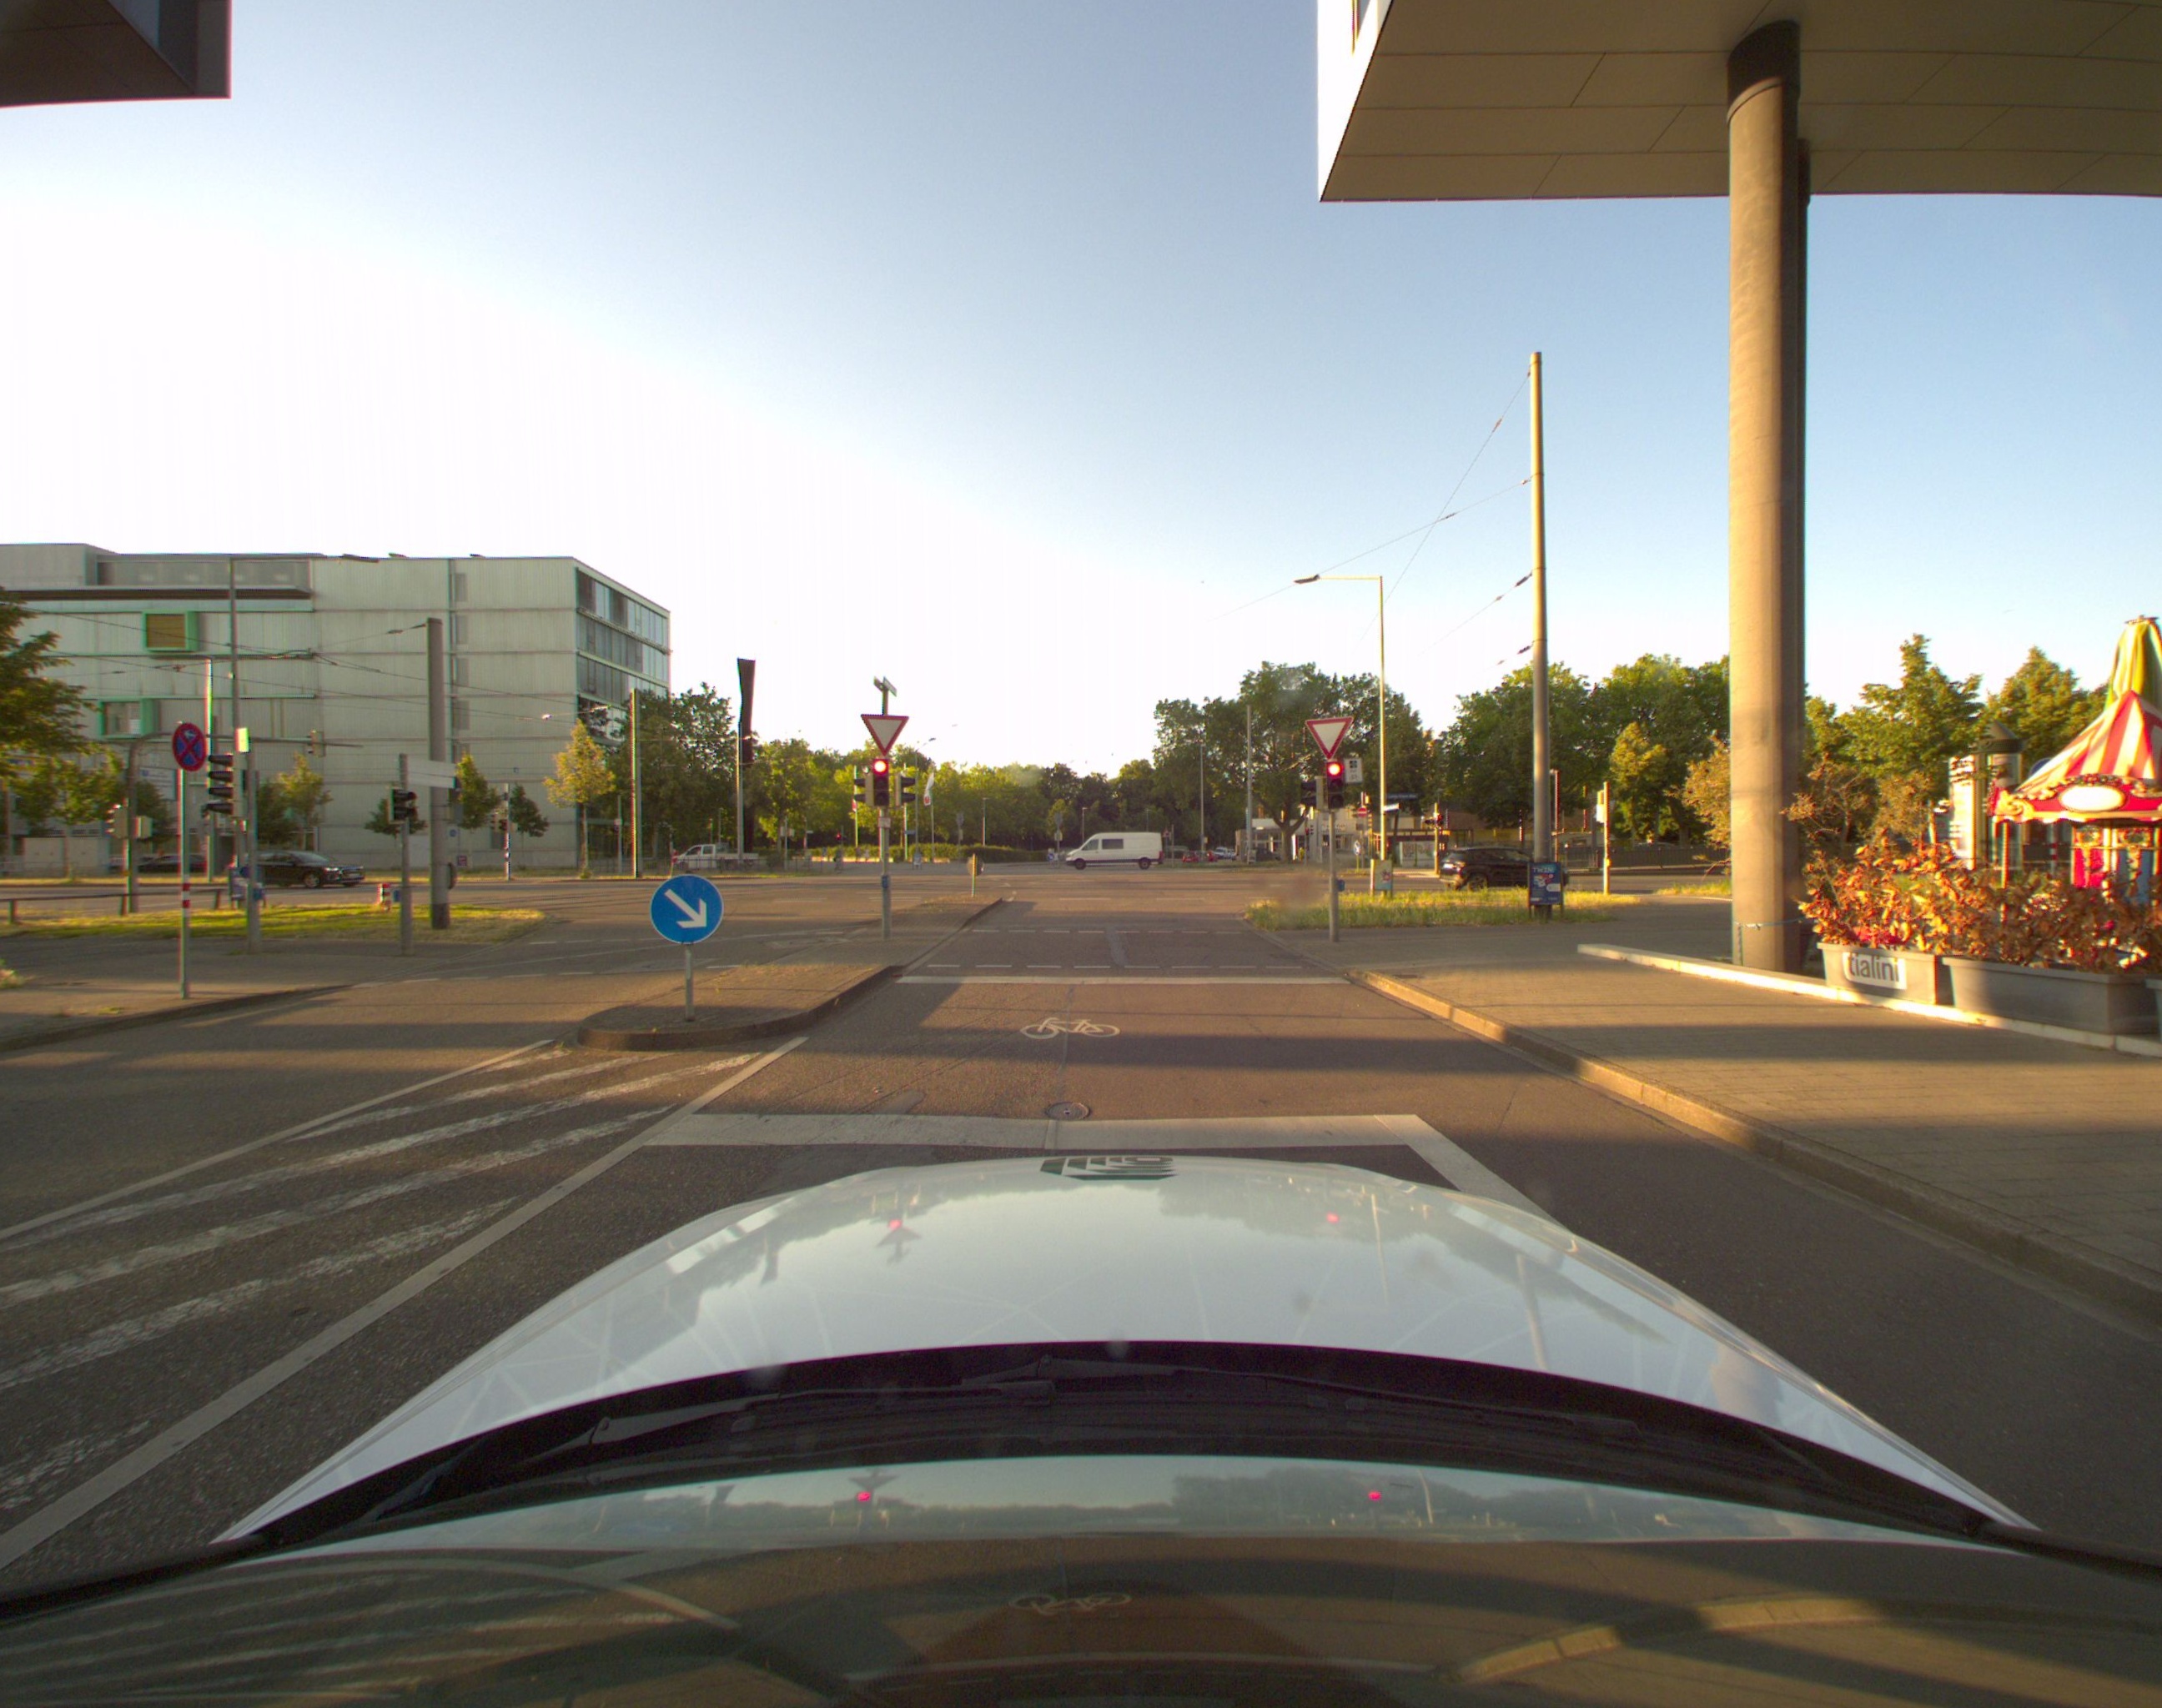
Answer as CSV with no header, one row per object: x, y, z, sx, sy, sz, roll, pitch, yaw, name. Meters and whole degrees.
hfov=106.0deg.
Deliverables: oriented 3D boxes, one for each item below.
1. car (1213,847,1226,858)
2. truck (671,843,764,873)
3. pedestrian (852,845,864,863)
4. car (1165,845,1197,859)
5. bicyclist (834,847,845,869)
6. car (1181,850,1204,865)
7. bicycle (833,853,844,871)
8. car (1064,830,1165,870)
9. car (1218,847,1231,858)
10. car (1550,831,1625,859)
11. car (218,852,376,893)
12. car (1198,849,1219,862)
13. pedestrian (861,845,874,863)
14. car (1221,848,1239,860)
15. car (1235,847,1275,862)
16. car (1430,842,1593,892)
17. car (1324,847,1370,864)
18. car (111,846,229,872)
22.269,-0.231,130.881,1.850,1.794,4.013,-1,-1,12,car
-25.688,0.273,57.684,5.539,2.054,2.067,-1,0,-1,truck
-21.614,0.022,78.833,0.834,1.744,0.852,-1,0,-41,pedestrian
15.415,-0.313,125.731,4.753,2.006,2.002,-1,-1,3,car
-18.967,0.337,63.835,0.753,1.709,0.914,-1,0,-20,bicyclist
13.104,0.392,95.561,1.978,1.662,4.018,-1,-1,17,car
-19.041,0.599,64.011,0.732,1.341,2.674,-1,0,-18,bicycle
2.332,-0.243,57.183,6.892,2.636,2.812,-1,-1,1,car
23.933,-0.237,135.739,1.849,1.794,4.015,-1,-1,14,car
47.846,-0.833,77.065,5.561,2.551,2.235,-1,0,9,car
-32.508,0.745,33.897,4.467,1.557,1.986,-1,0,-4,car
16.207,0.230,103.181,1.978,1.662,4.018,-1,-1,17,car
-20.871,-0.030,79.629,0.852,1.744,0.835,-1,0,43,pedestrian
21.087,0.016,115.301,1.978,1.662,4.018,-1,-1,17,car
18.923,0.026,88.902,4.194,1.552,2.005,-1,-1,9,car
14.347,0.404,27.309,4.421,1.574,1.999,-1,0,-1,car
23.442,0.165,71.912,3.715,1.440,1.669,-1,-1,11,car
-57.222,0.310,51.216,5.206,1.552,2.000,-1,-1,1,car
